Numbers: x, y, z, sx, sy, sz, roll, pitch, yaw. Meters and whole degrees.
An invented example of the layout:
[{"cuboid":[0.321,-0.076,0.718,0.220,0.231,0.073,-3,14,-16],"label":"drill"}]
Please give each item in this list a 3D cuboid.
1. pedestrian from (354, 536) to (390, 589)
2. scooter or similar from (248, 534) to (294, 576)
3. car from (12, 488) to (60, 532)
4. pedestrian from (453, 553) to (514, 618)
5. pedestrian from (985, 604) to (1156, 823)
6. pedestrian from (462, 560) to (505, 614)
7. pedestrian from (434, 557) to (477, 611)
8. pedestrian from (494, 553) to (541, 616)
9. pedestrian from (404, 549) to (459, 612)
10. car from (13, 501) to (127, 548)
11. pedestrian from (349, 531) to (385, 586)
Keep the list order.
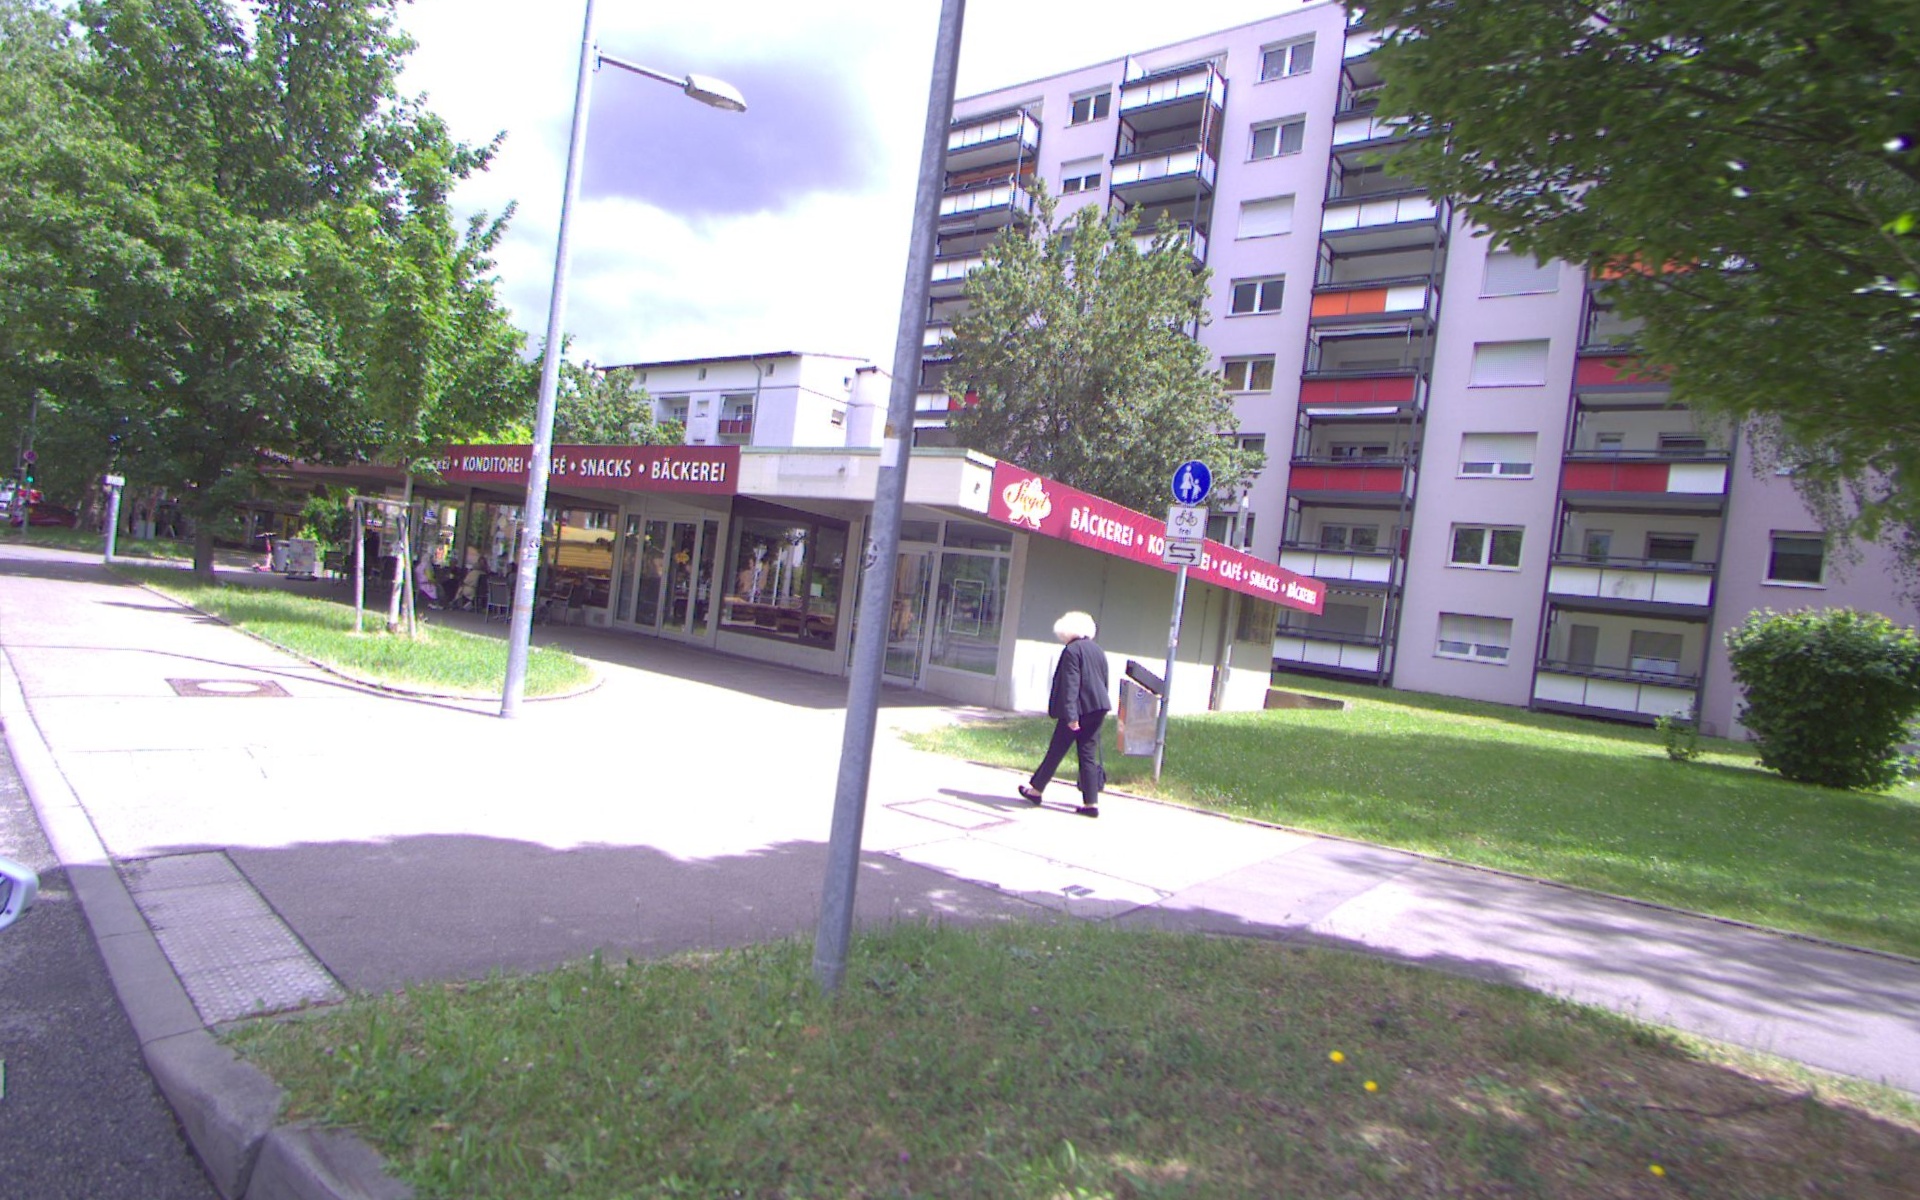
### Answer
[{"cuboid":[-18.065,-1.149,30.923,0.549,1.507,0.695,7,1,41],"label":"pedestrian"},{"cuboid":[-21.997,-1.414,32.131,0.511,1.242,1.726,7,1,-13],"label":"scooter or similar"},{"cuboid":[-69.285,-6.761,75.496,1.988,2.858,5.058,12,-3,-39],"label":"car"},{"cuboid":[-11.090,-0.331,23.406,0.810,1.342,0.877,10,2,37],"label":"pedestrian"},{"cuboid":[0.873,0.881,7.942,0.793,1.537,0.870,8,0,44],"label":"pedestrian"},{"cuboid":[-11.755,-0.325,24.807,0.714,1.216,0.691,6,0,-39],"label":"pedestrian"},{"cuboid":[-12.276,-0.399,24.492,0.714,1.216,0.691,6,0,-39],"label":"pedestrian"},{"cuboid":[-10.609,-0.367,24.119,0.690,1.398,0.716,7,1,44],"label":"pedestrian"},{"cuboid":[-12.273,-0.452,23.362,0.875,1.341,0.603,6,1,-45],"label":"pedestrian"},{"cuboid":[-43.440,-3.681,49.225,3.973,1.530,1.976,9,1,-41],"label":"car"},{"cuboid":[-18.464,-1.287,31.313,0.549,1.593,0.695,7,1,41],"label":"pedestrian"}]
